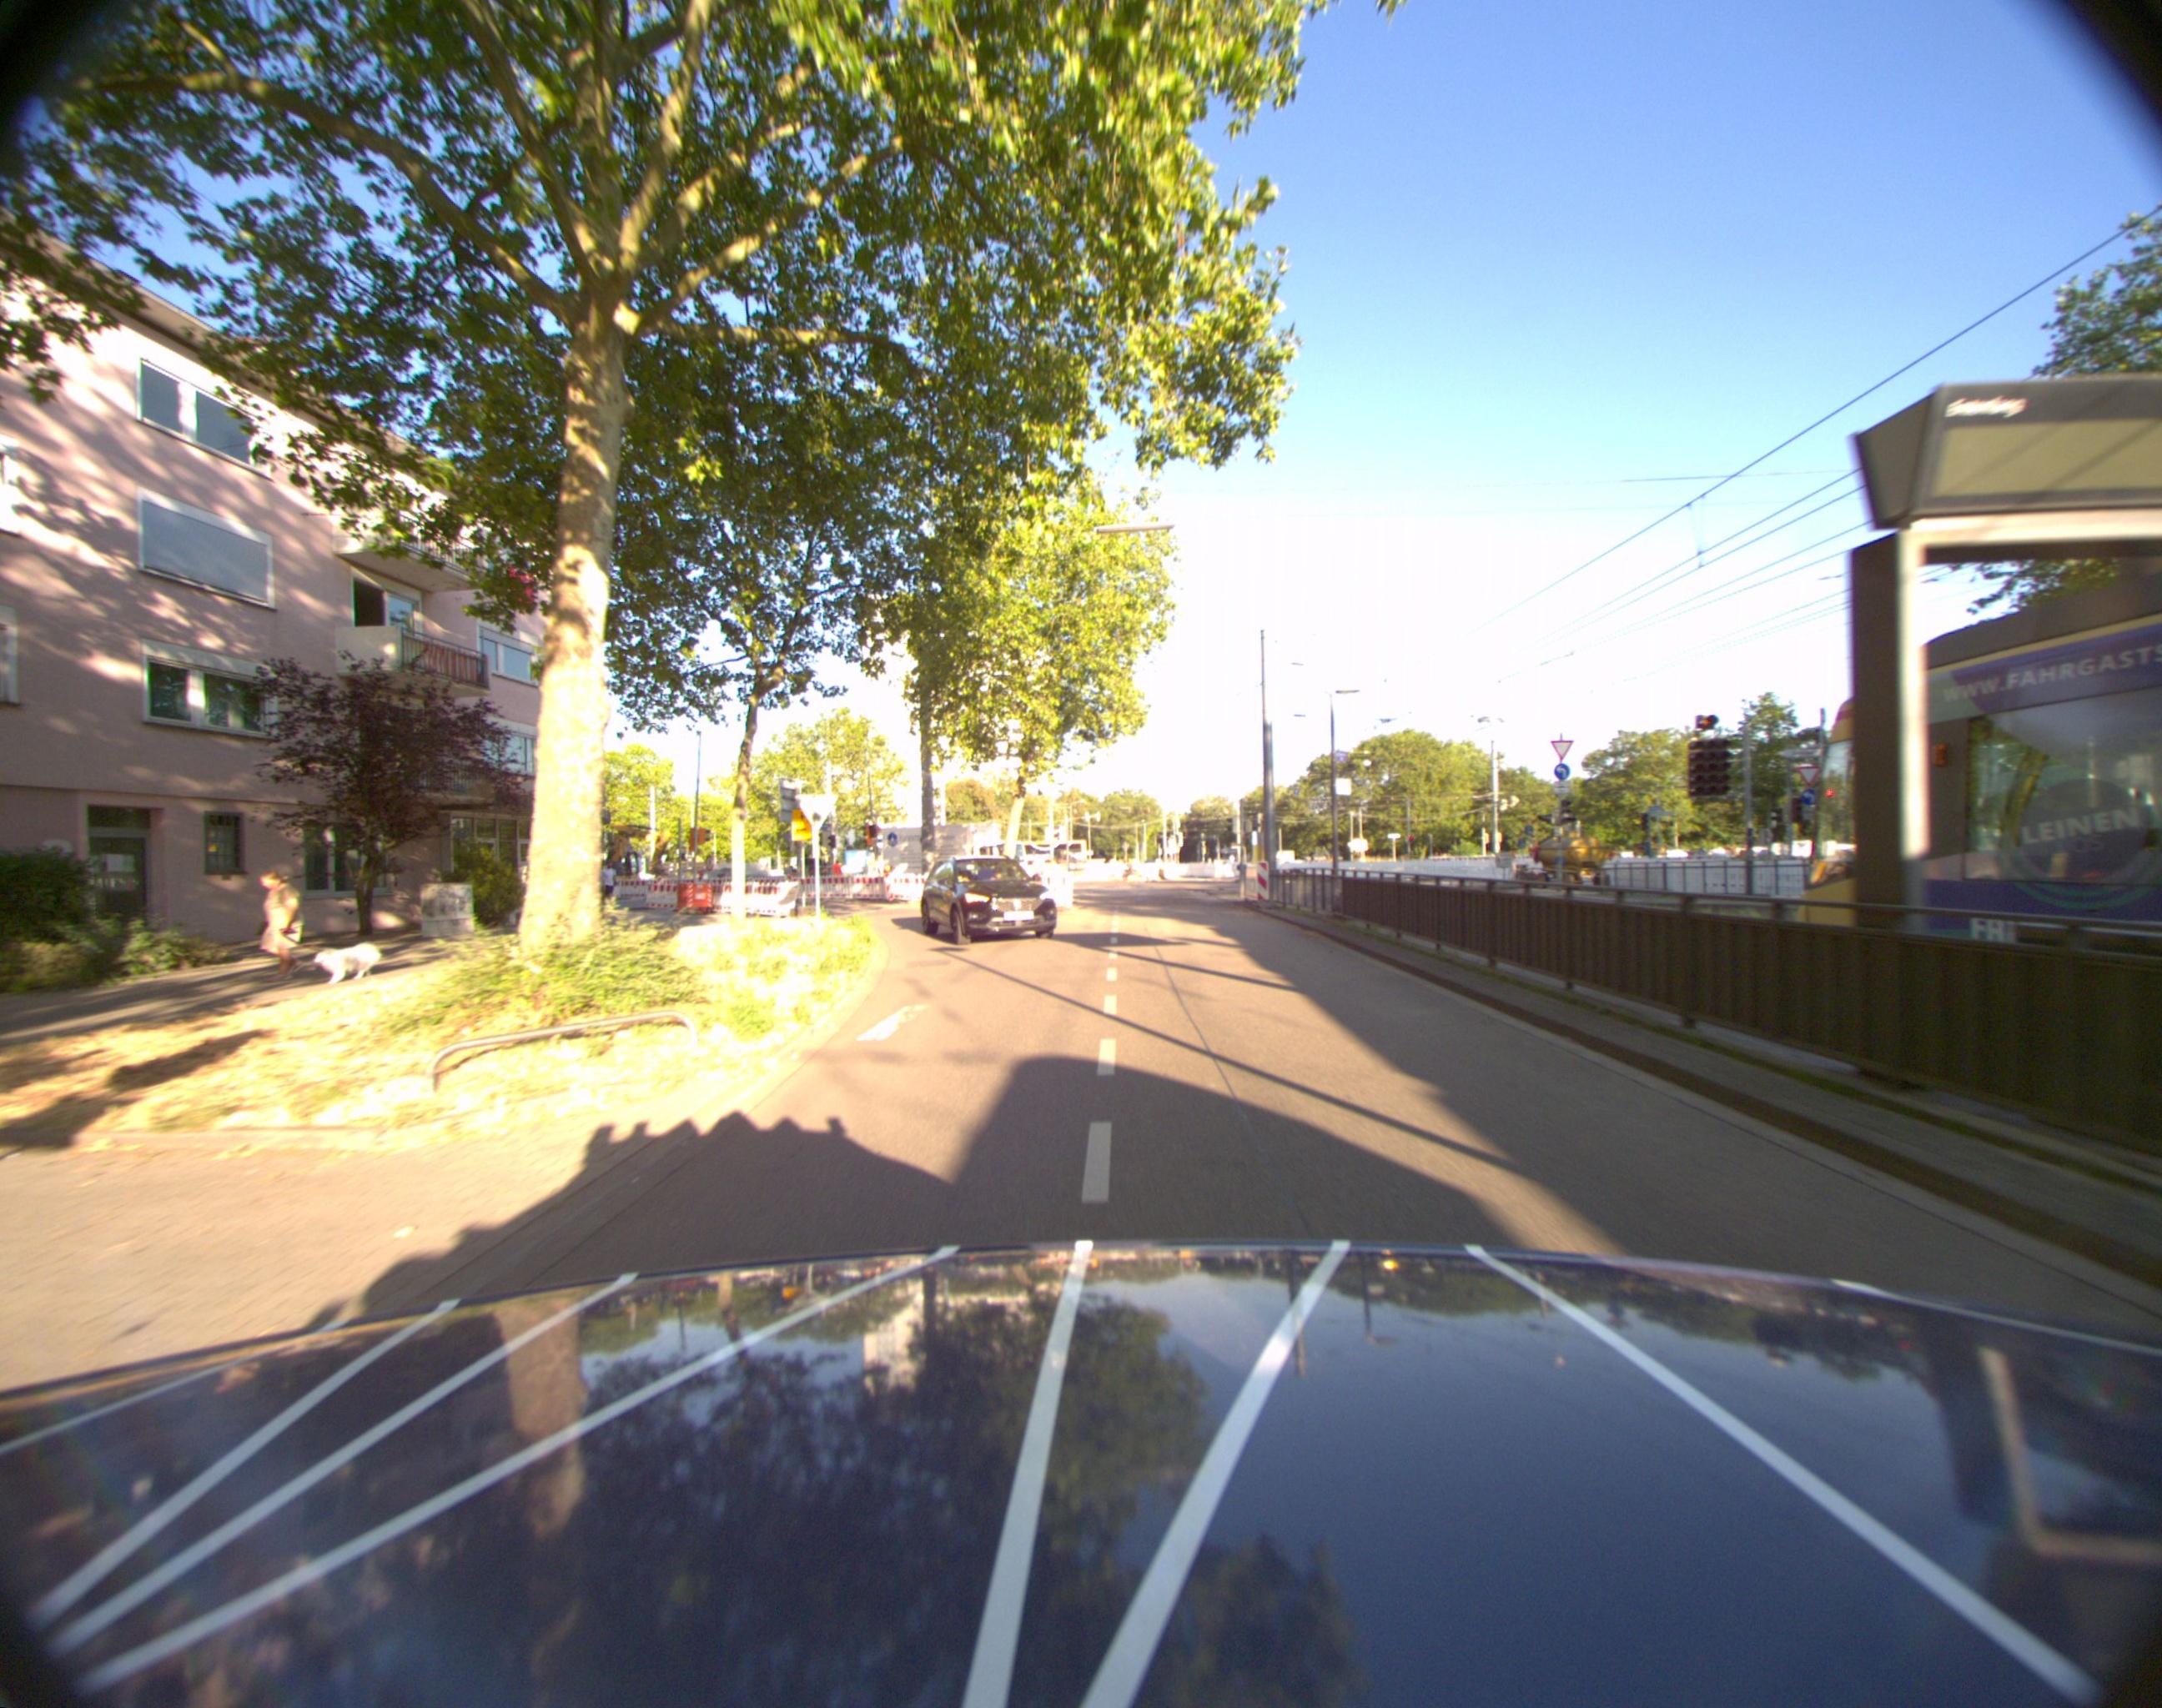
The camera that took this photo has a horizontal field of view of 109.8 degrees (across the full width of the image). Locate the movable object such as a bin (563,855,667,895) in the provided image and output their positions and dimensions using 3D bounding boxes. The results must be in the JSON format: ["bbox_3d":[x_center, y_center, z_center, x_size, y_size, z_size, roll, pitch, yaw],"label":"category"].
[{"bbox_3d":[-29.622,1.304,48.407,4.897,2.304,2.652,-2,0,2],"label":"movable object such as a bin"}]

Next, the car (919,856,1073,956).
[{"bbox_3d":[-1.872,0.916,15.281,2.002,1.637,4.197,-2,0,-21],"label":"car"}]

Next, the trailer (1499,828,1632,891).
[{"bbox_3d":[17.830,0.163,28.258,1.999,2.103,4.344,-1,1,-3],"label":"trailer"}]

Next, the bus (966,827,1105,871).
[{"bbox_3d":[-4.047,-0.448,69.545,12.288,3.701,3.089,-1,0,4],"label":"bus"}]

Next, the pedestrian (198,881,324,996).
[{"bbox_3d":[-11.159,1.128,10.377,0.792,1.465,0.816,-1,0,0],"label":"pedestrian"}]

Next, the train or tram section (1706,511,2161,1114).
[{"bbox_3d":[7.483,-0.245,1.183,2.856,3.512,13.400,-1,0,4],"label":"train or tram section"}]

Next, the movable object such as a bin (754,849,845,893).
[{"bbox_3d":[-15.584,0.965,42.024,5.193,2.244,2.003,-2,2,35],"label":"movable object such as a bin"}]

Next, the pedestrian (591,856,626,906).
[{"bbox_3d":[-18.175,1.022,29.257,0.841,1.859,1.098,-1,1,-16],"label":"pedestrian"}]

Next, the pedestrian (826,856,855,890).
[{"bbox_3d":[-12.787,0.997,40.397,1.067,1.787,0.977,-1,1,25],"label":"pedestrian"}]

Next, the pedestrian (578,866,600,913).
[{"bbox_3d":[-18.189,1.303,28.088,0.585,1.697,0.678,0,-2,-23],"label":"pedestrian"}]

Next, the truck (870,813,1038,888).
[{"bbox_3d":[-6.689,-0.090,39.133,8.958,3.520,2.827,-2,0,34],"label":"truck"}]
